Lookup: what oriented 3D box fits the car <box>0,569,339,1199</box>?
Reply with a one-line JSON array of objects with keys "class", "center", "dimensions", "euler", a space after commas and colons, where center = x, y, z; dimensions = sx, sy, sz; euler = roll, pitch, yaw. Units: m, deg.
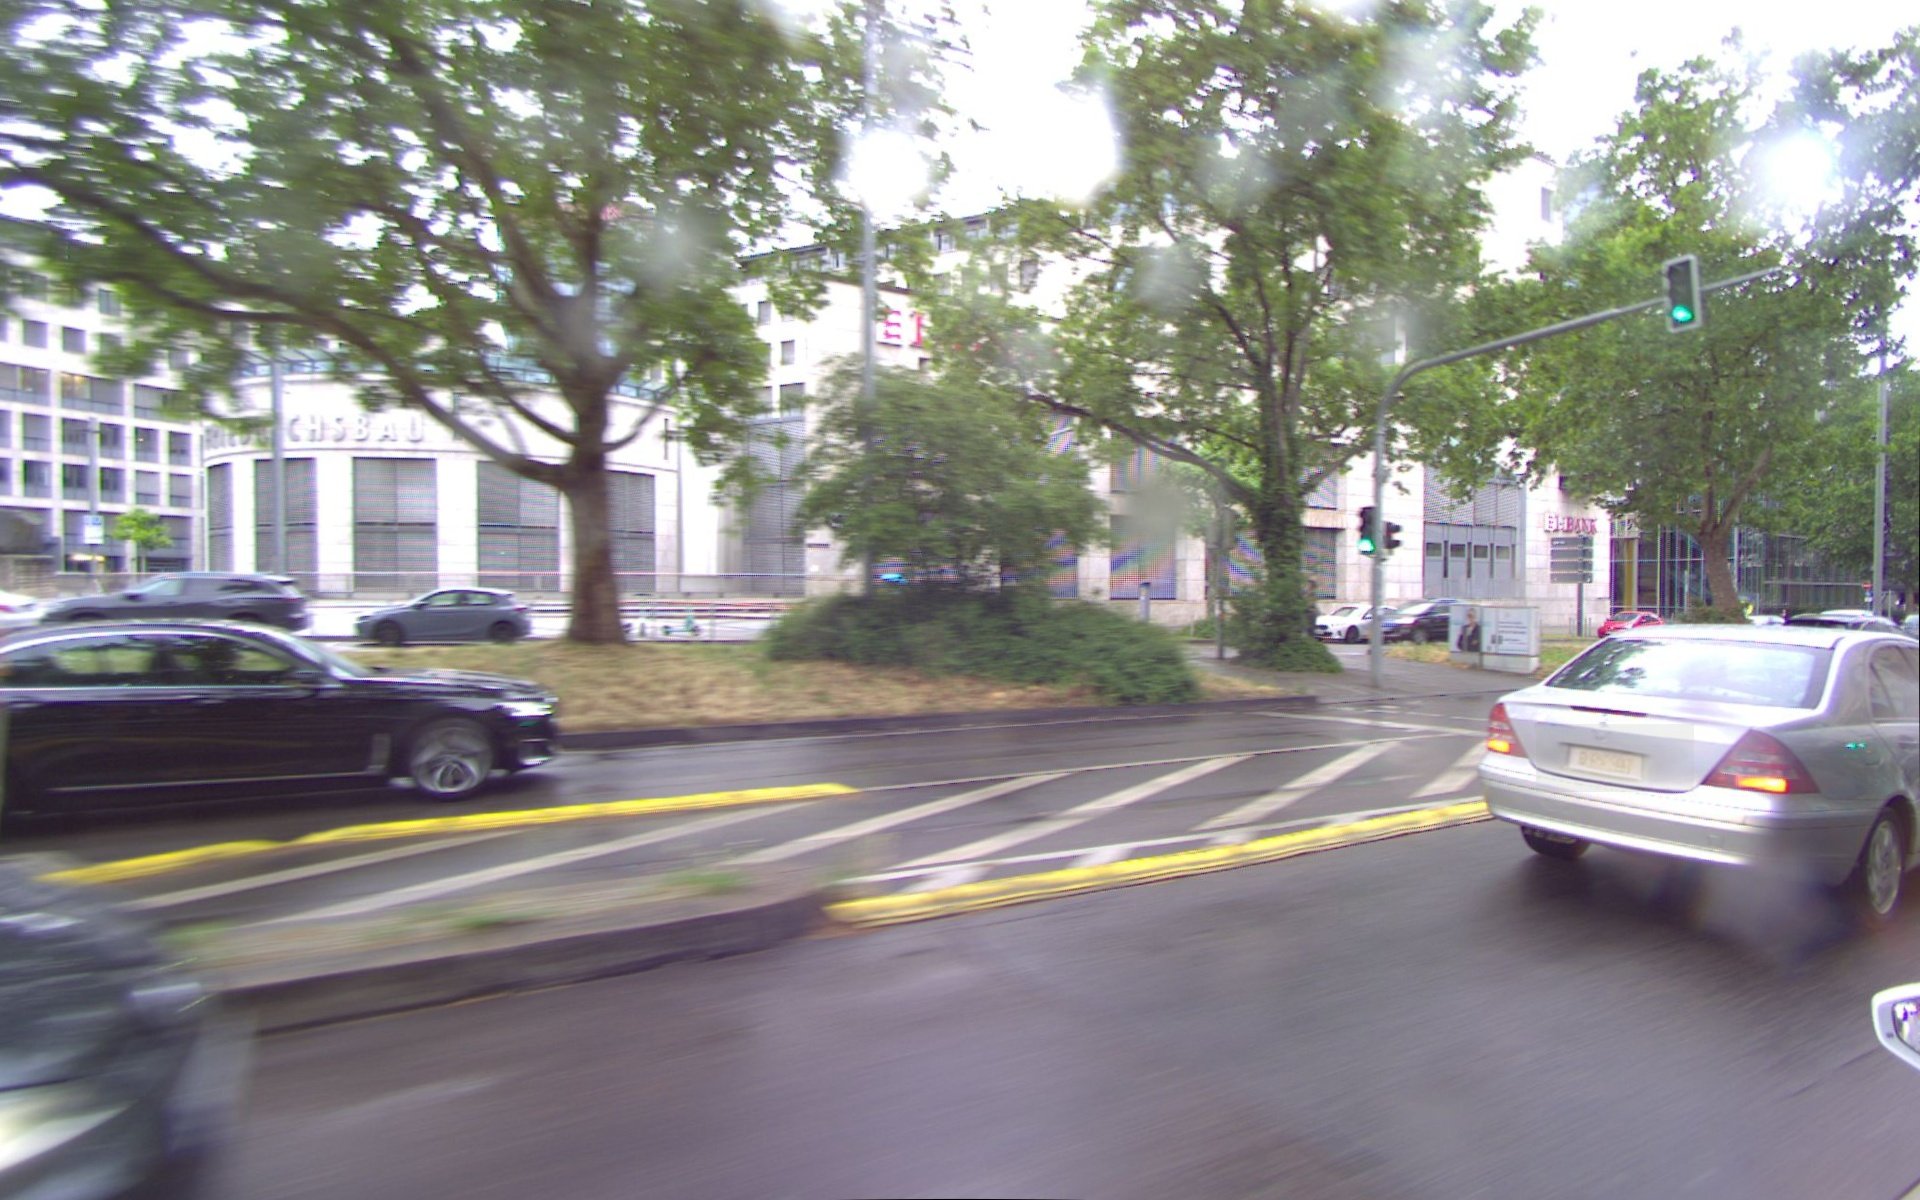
[{"class": "car", "center": [-3.149, 0.656, 1.149], "dimensions": [4.075, 1.472, 1.775], "euler": [1, 1, -31]}]

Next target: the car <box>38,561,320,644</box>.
[{"class": "car", "center": [-17.413, 0.082, 22.743], "dimensions": [4.664, 1.673, 1.987], "euler": [2, 0, -26]}]

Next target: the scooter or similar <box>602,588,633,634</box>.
[{"class": "scooter or similar", "center": [-9.585, 0.289, 28.132], "dimensions": [0.571, 1.202, 1.427], "euler": [2, 2, -9]}]

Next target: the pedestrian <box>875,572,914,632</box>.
[{"class": "pedestrian", "center": [-2.165, 0.060, 33.208], "dimensions": [1.113, 1.950, 0.584], "euler": [1, 2, -33]}]

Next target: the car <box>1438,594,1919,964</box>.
[{"class": "car", "center": [4.980, 0.784, 6.077], "dimensions": [4.311, 1.499, 1.663], "euler": [1, 2, -32]}]

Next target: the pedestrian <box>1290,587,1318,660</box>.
[{"class": "pedestrian", "center": [7.833, 0.529, 22.895], "dimensions": [0.544, 1.636, 0.425], "euler": [1, 1, 18]}]

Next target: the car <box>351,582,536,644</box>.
[{"class": "car", "center": [-12.903, 0.336, 25.397], "dimensions": [3.985, 1.400, 1.837], "euler": [2, 0, -24]}]

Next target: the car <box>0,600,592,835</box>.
[{"class": "car", "center": [-5.694, 0.823, 8.240], "dimensions": [4.817, 1.499, 1.864], "euler": [1, 2, -28]}]

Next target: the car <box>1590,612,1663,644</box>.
[{"class": "car", "center": [32.472, 1.373, 48.936], "dimensions": [3.359, 1.434, 1.586], "euler": [2, 0, -28]}]

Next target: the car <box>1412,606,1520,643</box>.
[{"class": "car", "center": [21.507, 1.038, 42.656], "dimensions": [4.647, 1.434, 1.740], "euler": [2, 0, -28]}]

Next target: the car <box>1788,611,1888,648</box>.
[{"class": "car", "center": [35.112, 1.182, 40.147], "dimensions": [4.081, 1.383, 1.739], "euler": [2, 0, -29]}]

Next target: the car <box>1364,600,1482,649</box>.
[{"class": "car", "center": [17.060, 0.915, 36.983], "dimensions": [4.239, 1.695, 1.731], "euler": [2, 0, -27]}]

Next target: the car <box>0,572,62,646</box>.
[{"class": "car", "center": [-22.306, 0.133, 21.313], "dimensions": [4.376, 1.554, 2.001], "euler": [2, 0, -25]}]

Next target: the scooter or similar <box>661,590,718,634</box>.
[{"class": "scooter or similar", "center": [-7.623, 0.330, 28.296], "dimensions": [1.582, 1.141, 0.442], "euler": [3, 2, 23]}]

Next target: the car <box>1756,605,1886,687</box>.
[{"class": "car", "center": [19.152, 0.956, 22.289], "dimensions": [3.972, 1.600, 1.794], "euler": [1, 1, -44]}]

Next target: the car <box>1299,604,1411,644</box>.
[{"class": "car", "center": [15.489, 0.937, 39.378], "dimensions": [4.240, 1.434, 1.740], "euler": [2, 0, -28]}]

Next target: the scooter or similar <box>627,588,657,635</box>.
[{"class": "scooter or similar", "center": [-8.724, 0.308, 27.609], "dimensions": [0.571, 1.202, 1.427], "euler": [2, 2, -9]}]

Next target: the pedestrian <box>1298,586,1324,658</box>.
[{"class": "pedestrian", "center": [8.140, 0.505, 23.283], "dimensions": [0.440, 1.636, 0.641], "euler": [2, 2, 27]}]

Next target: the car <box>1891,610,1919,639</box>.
[{"class": "car", "center": [58.764, 1.529, 61.380], "dimensions": [4.049, 1.661, 1.820], "euler": [2, 0, -34]}]
